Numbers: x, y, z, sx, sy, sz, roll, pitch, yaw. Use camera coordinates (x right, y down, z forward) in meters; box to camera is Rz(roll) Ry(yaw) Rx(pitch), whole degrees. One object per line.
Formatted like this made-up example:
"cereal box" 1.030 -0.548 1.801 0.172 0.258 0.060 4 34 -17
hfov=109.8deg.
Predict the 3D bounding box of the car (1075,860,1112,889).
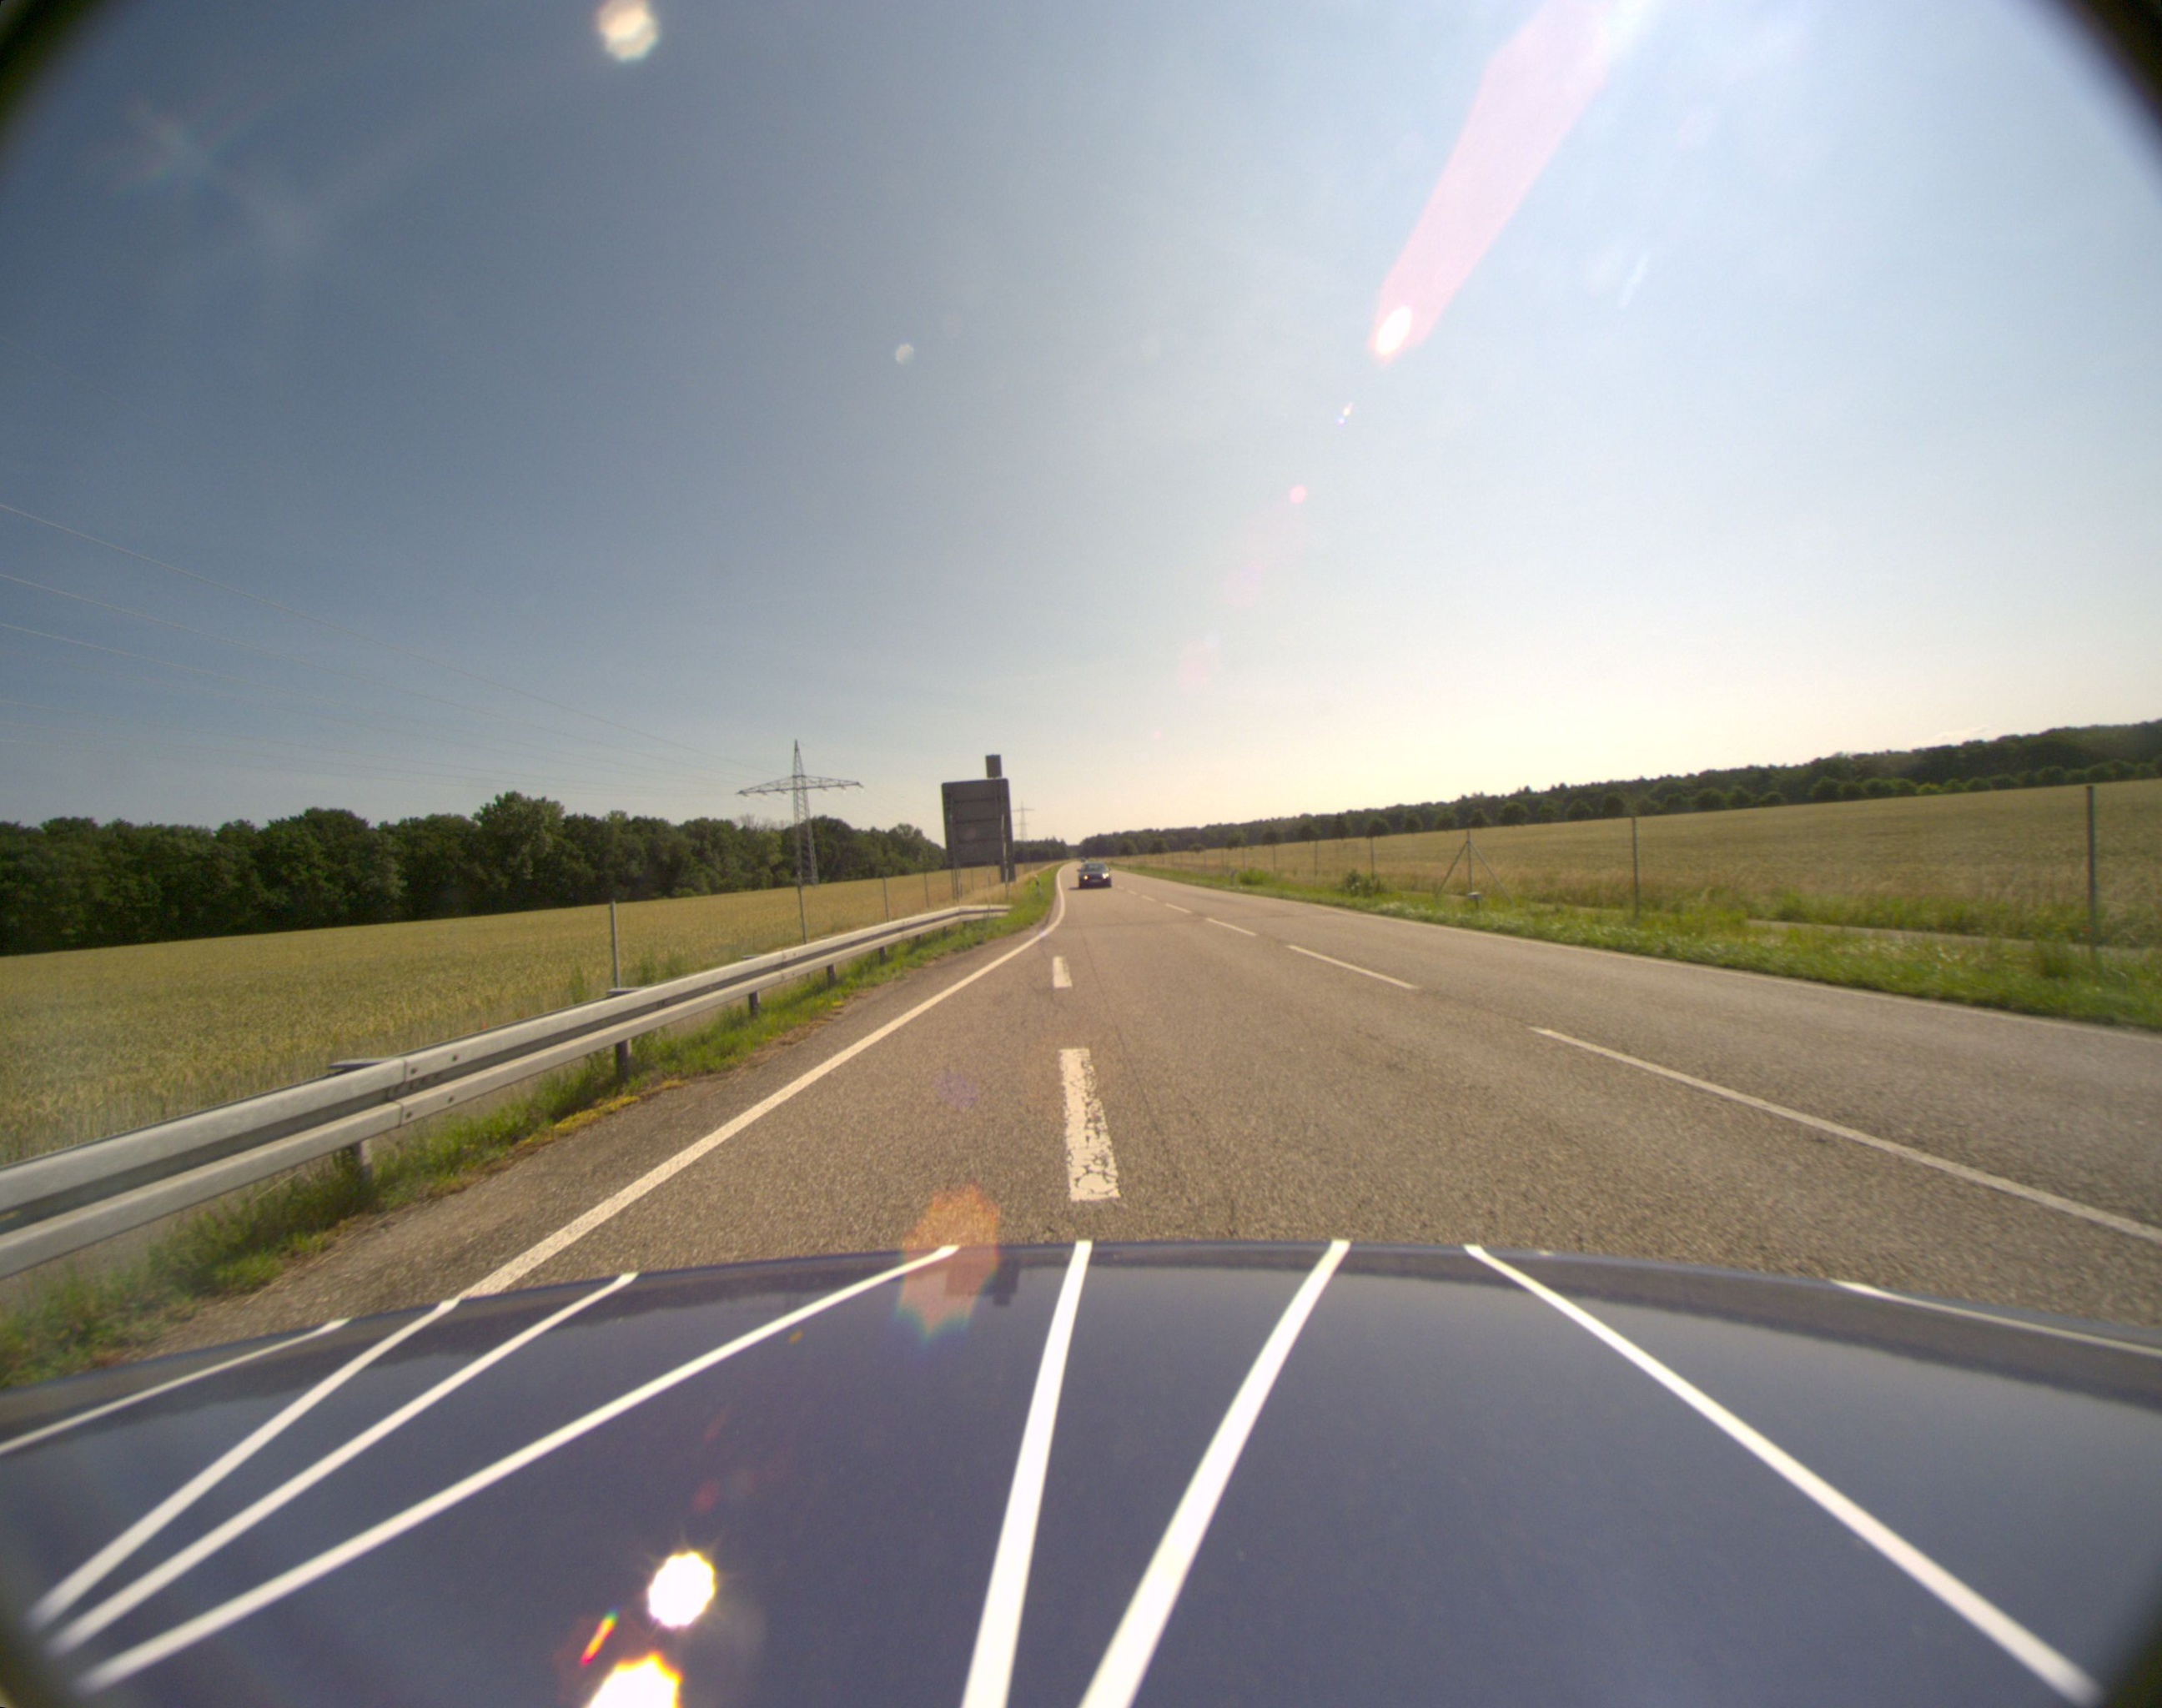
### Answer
"car" 0.670 1.108 41.753 1.886 1.448 4.076 -2 -1 1
